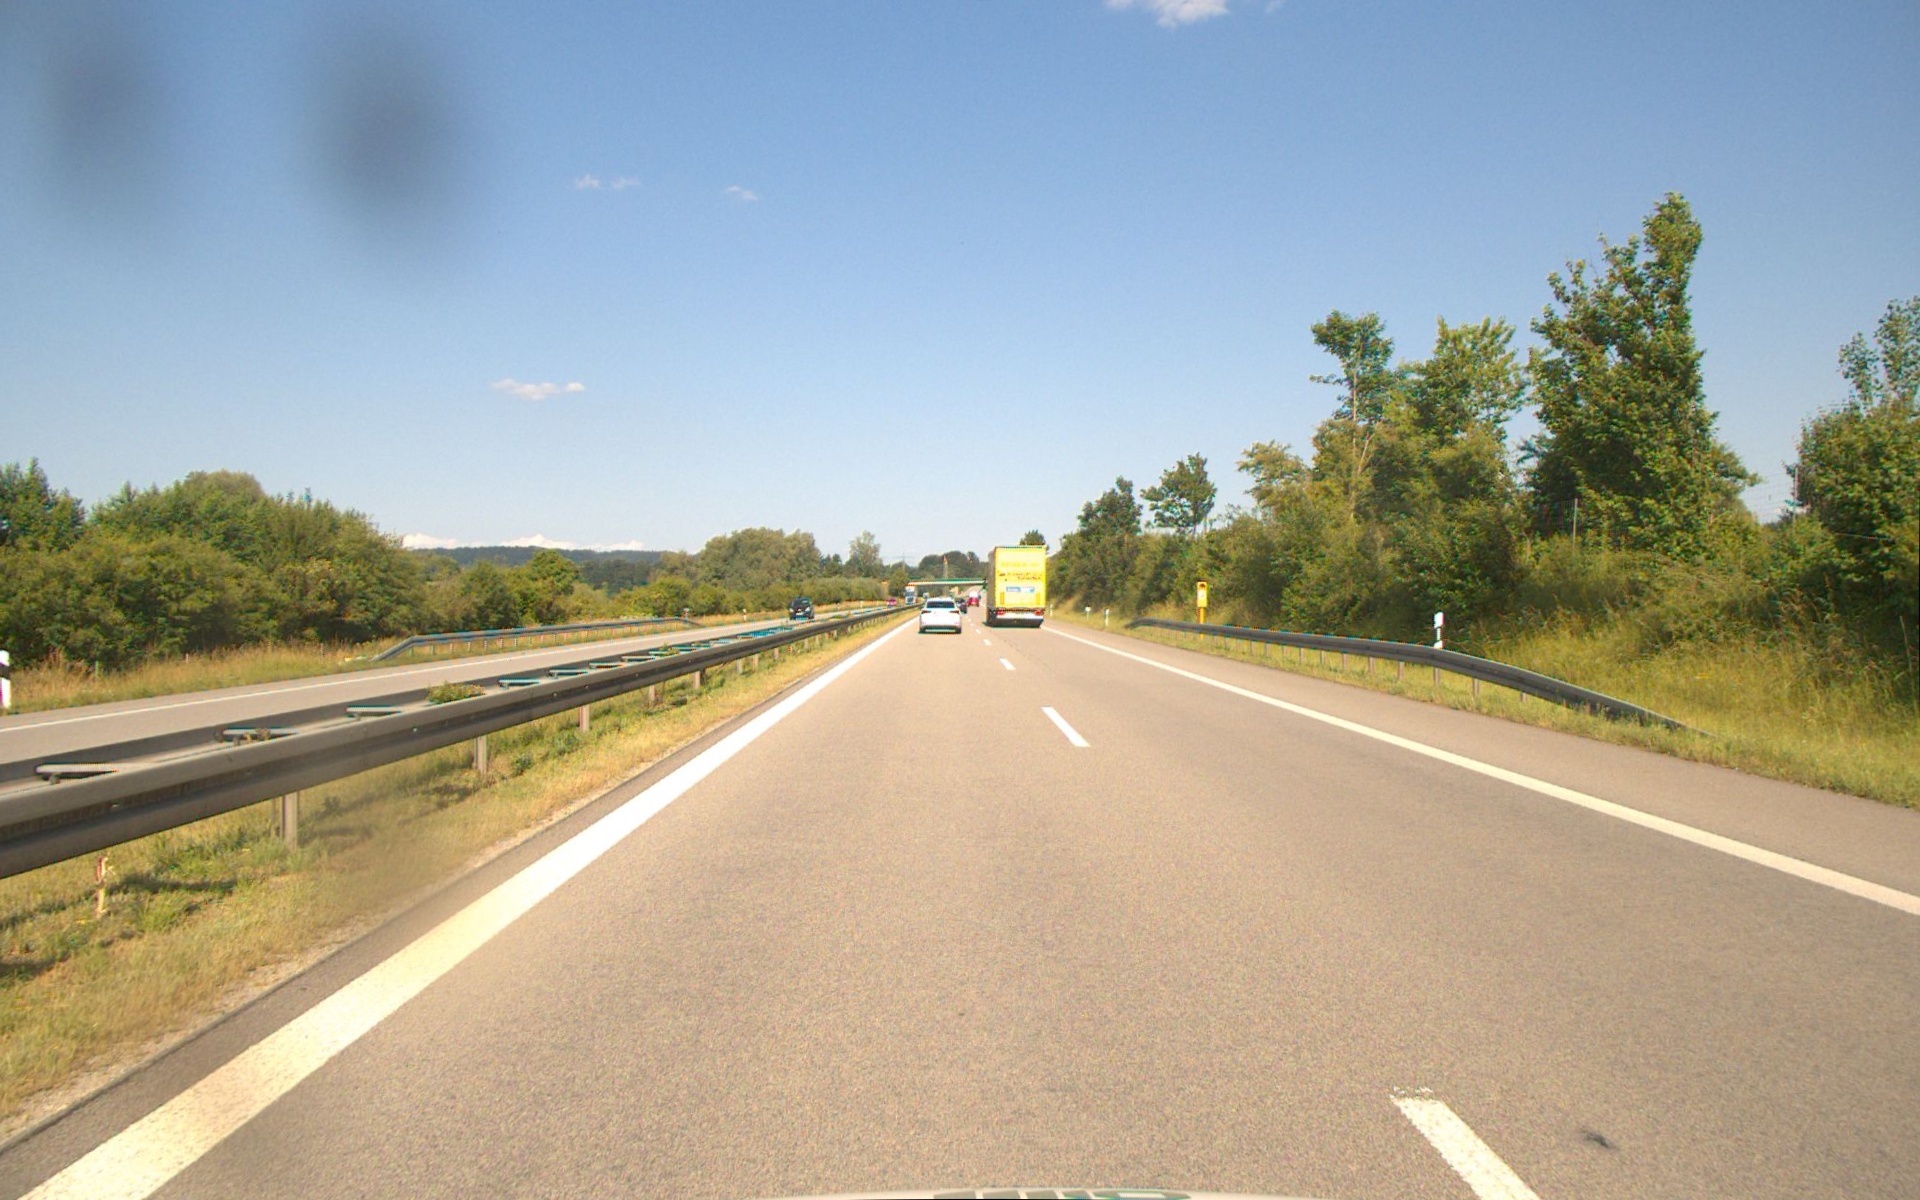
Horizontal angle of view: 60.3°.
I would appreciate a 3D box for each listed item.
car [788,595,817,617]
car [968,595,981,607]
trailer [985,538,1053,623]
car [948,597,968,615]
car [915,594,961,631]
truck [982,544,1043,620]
[{"bbox_3d":[-12.427,0.472,130.828,1.792,1.599,4.655,-2,0,-1],"label":"car"},{"bbox_3d":[2.293,0.127,258.653,1.863,1.712,4.730,2,0,-1],"label":"car"},{"bbox_3d":[3.028,-0.948,88.723,3.119,4.130,13.185,1,0,0],"label":"trailer"},{"bbox_3d":[-0.158,0.562,154.234,1.805,1.546,4.000,1,0,1],"label":"car"},{"bbox_3d":[-0.897,0.519,69.041,1.805,1.440,4.000,1,0,1],"label":"car"},{"bbox_3d":[2.958,-1.006,95.147,3.104,4.186,6.387,1,0,-1],"label":"truck"}]
